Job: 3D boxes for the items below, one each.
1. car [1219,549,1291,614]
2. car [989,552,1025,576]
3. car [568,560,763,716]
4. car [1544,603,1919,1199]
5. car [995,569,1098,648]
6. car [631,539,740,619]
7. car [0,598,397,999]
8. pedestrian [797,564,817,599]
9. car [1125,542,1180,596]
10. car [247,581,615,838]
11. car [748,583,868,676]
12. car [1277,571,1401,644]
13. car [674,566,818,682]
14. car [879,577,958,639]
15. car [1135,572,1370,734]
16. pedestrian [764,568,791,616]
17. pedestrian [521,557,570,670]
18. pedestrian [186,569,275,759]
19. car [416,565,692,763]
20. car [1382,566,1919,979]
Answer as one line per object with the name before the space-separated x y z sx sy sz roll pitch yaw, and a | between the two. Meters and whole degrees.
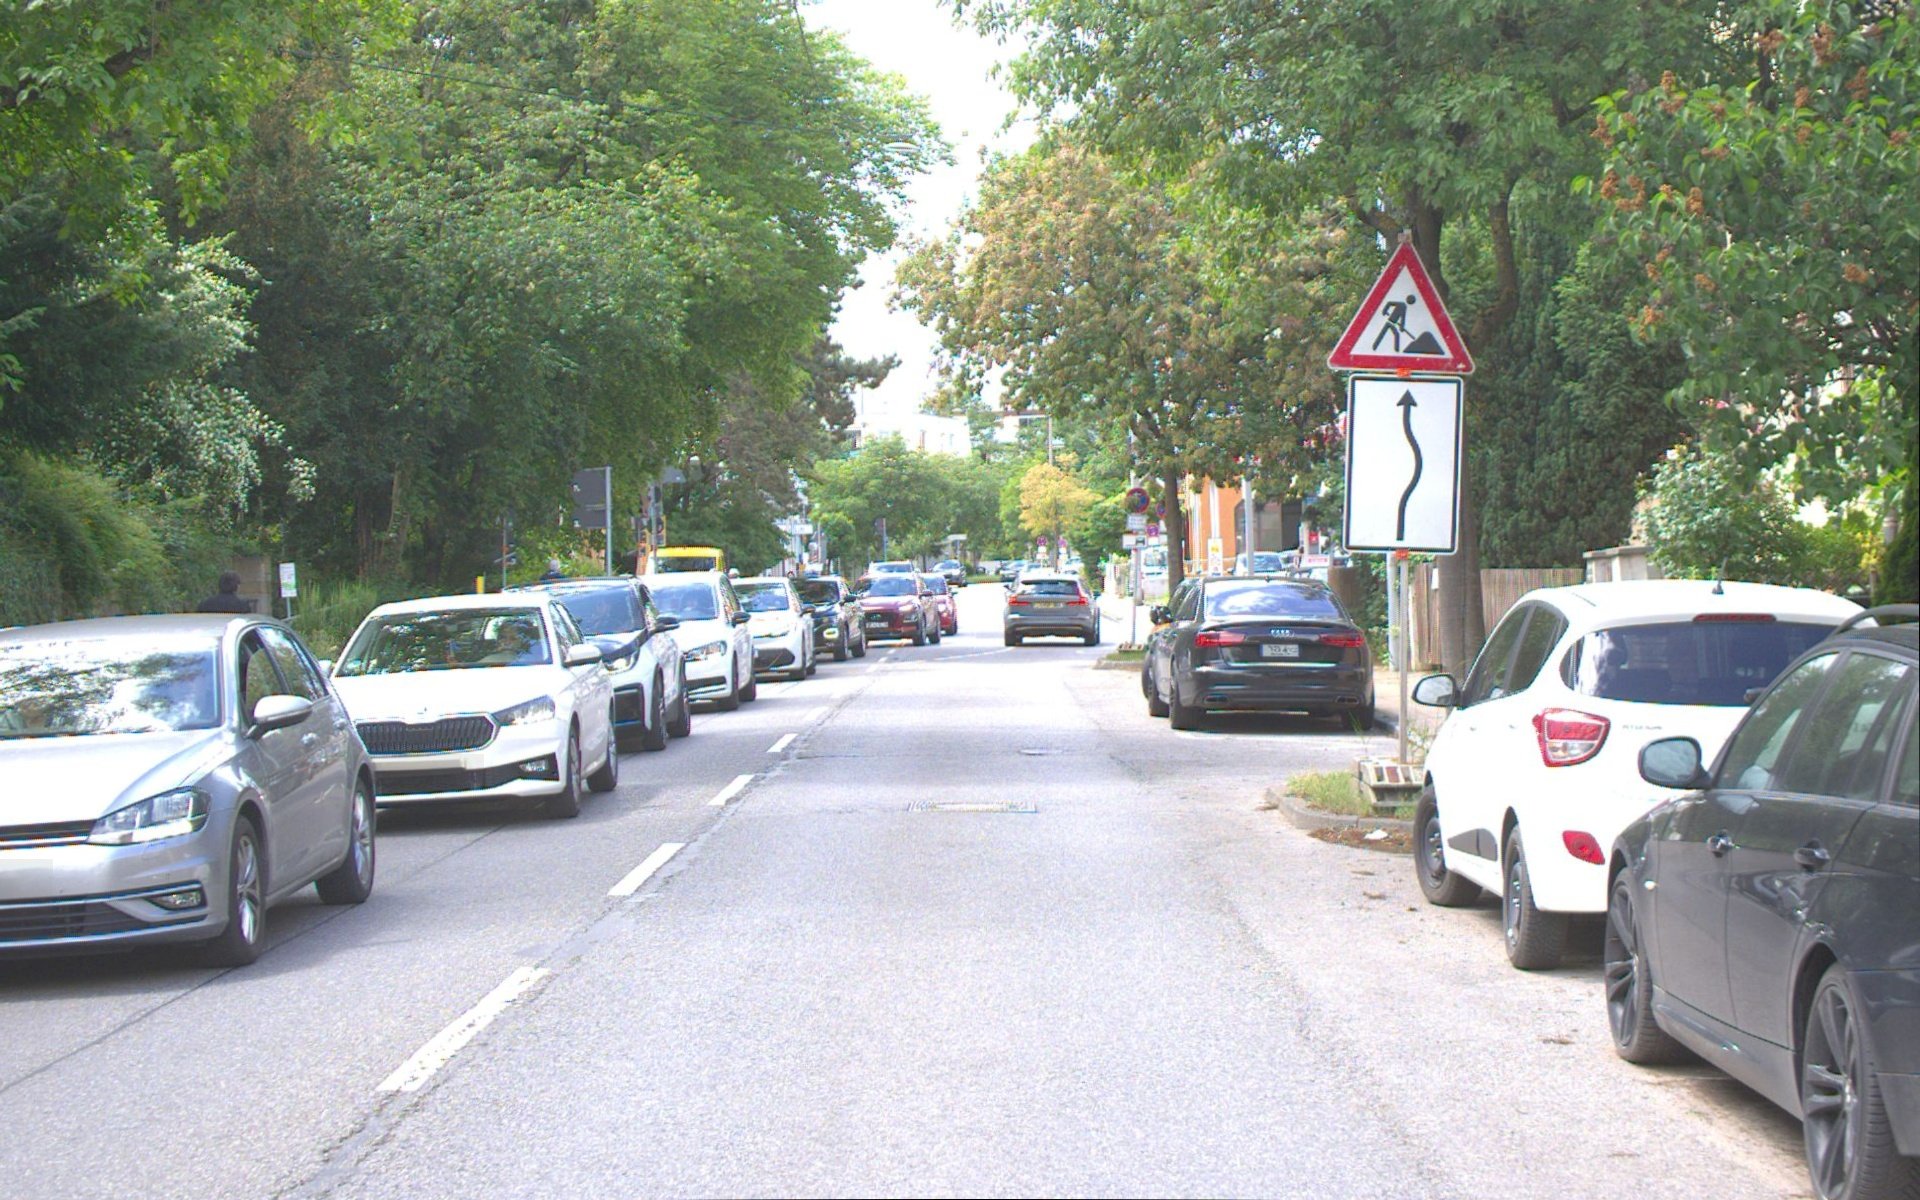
car | 8.071 -0.520 94.322 1.784 1.629 3.692 -4 0 4
car | 3.052 -2.302 222.152 2.111 1.496 4.266 -1 0 3
car | -3.404 0.404 40.467 1.786 1.642 4.490 -3 1 1
car | 2.909 0.745 9.190 1.993 1.418 4.588 -1 0 1
car | 1.815 0.152 70.935 1.976 1.508 4.266 2 1 3
car | -7.016 -0.505 88.442 2.146 1.974 4.930 -1 0 3
car | -3.731 0.775 14.995 1.709 1.451 4.287 -4 0 1
pedestrian | -6.203 -0.747 139.319 0.705 1.434 0.713 -1 -1 4
car | 7.461 -1.203 133.433 1.993 2.007 4.000 -1 0 2
car | -3.403 0.652 22.790 1.760 1.434 3.970 -3 1 0
car | -2.741 0.513 62.820 1.789 1.536 4.263 -3 1 2
car | 7.122 0.119 64.926 1.724 1.312 4.267 -1 1 -2
car | -3.162 0.327 51.531 1.785 1.586 4.154 -3 1 1
car | -0.978 0.198 82.631 1.691 1.420 3.437 -1 0 2
car | 2.780 0.459 33.656 1.801 1.440 4.887 1 0 -1
pedestrian | -5.439 -0.239 102.605 0.704 1.434 0.714 -1 -1 -10
pedestrian | -6.568 0.213 54.464 0.714 1.756 1.122 -1 -1 -5
pedestrian | -6.528 0.565 30.786 0.653 1.661 0.932 -1 -1 -5
car | -3.618 0.526 31.350 1.928 1.541 4.086 -4 1 0
car | 2.863 0.628 14.701 1.621 1.502 3.779 -1 0 0
